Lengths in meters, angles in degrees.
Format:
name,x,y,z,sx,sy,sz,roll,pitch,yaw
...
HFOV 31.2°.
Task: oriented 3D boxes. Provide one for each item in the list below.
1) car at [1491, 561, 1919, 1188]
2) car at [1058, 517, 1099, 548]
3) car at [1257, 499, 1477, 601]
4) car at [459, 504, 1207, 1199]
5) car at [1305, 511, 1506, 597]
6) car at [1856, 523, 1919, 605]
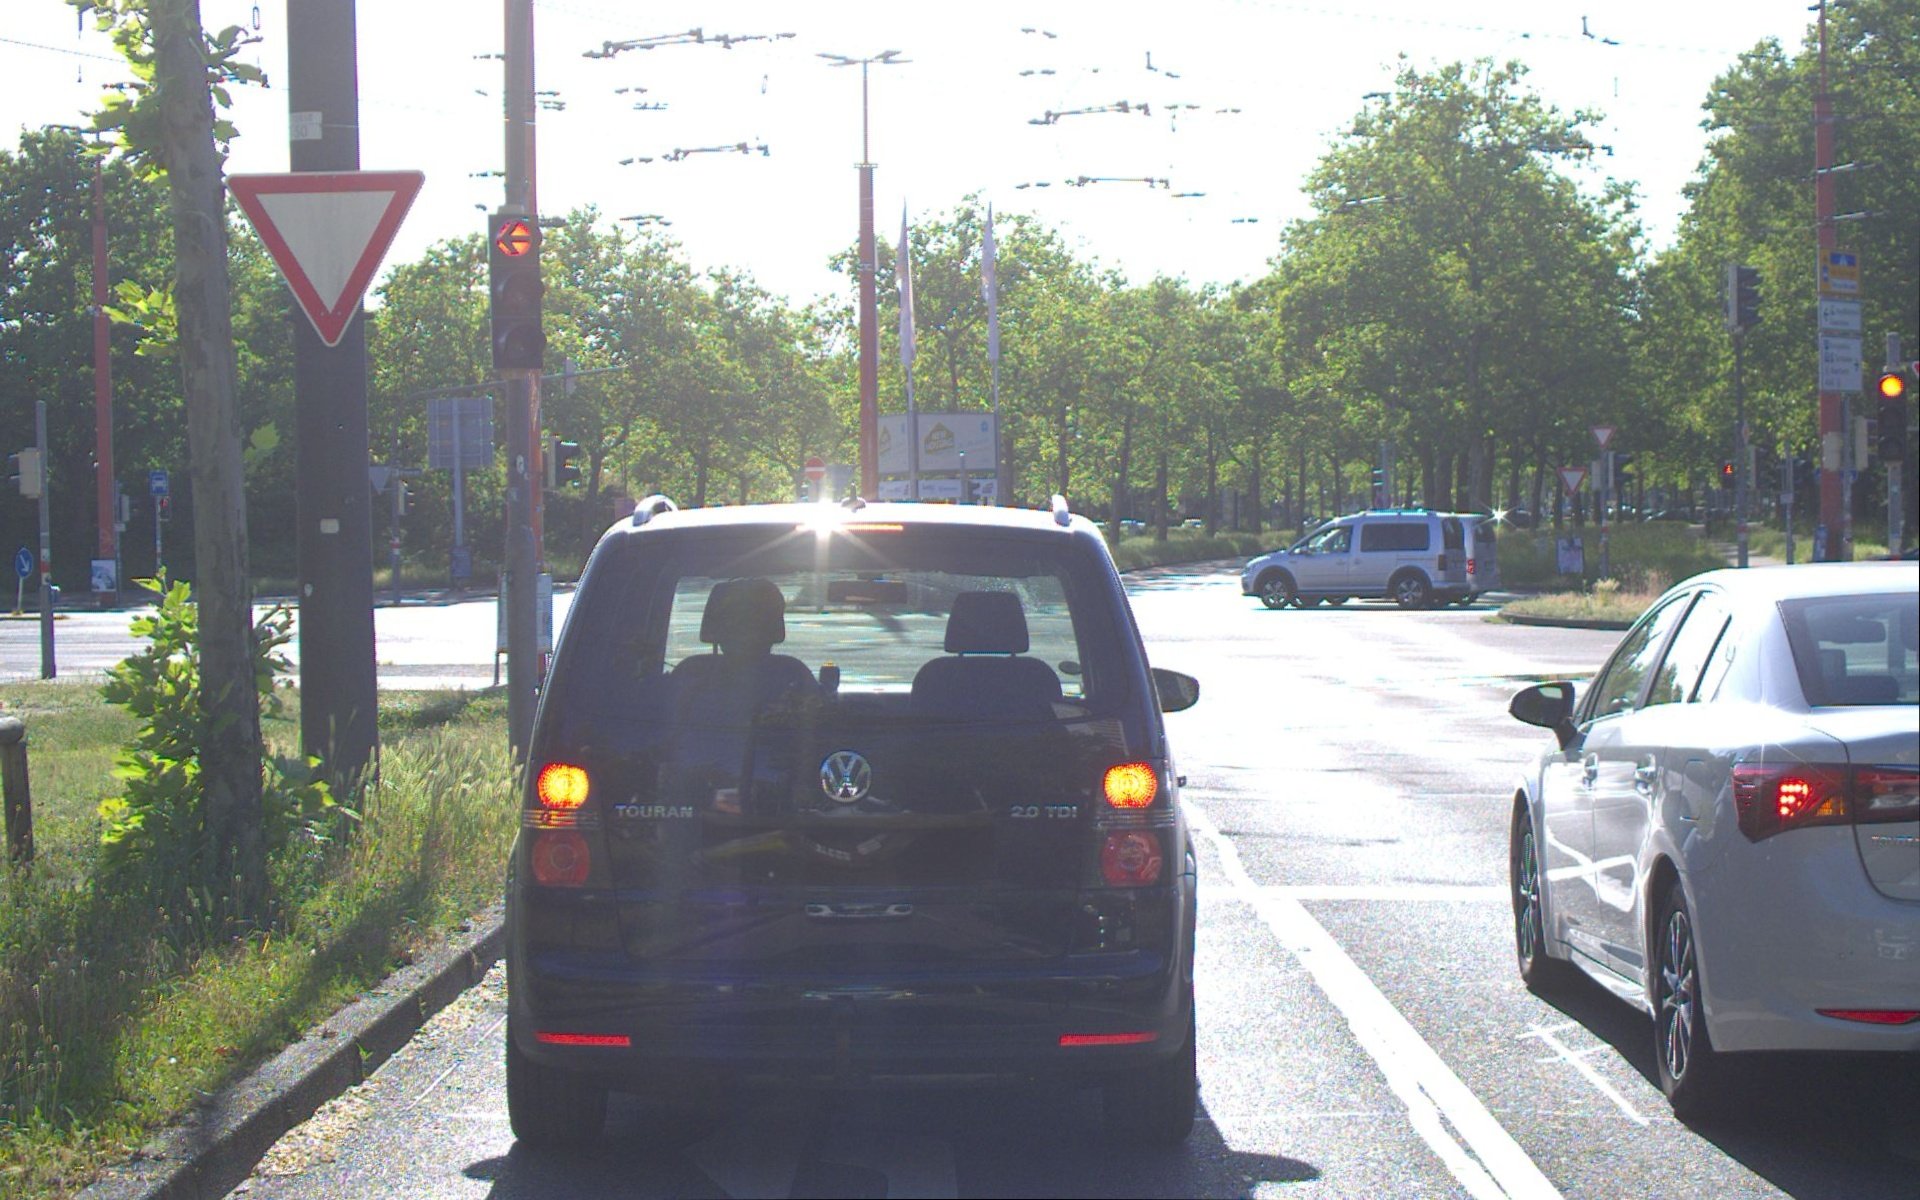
name,x,y,z,sx,sy,sz,roll,pitch,yaw
car,2.718,0.623,10.096,1.720,1.433,4.198,1,1,1
car,6.535,-3.716,189.462,1.915,1.630,3.999,1,1,7
car,7.823,-0.962,66.039,3.837,1.883,1.762,1,1,23
car,-0.319,0.568,9.818,1.700,1.616,3.897,0,1,-1
car,8.977,-0.920,69.241,3.647,1.650,1.678,1,1,25
car,19.027,-0.646,64.242,4.127,1.505,1.820,1,1,26
